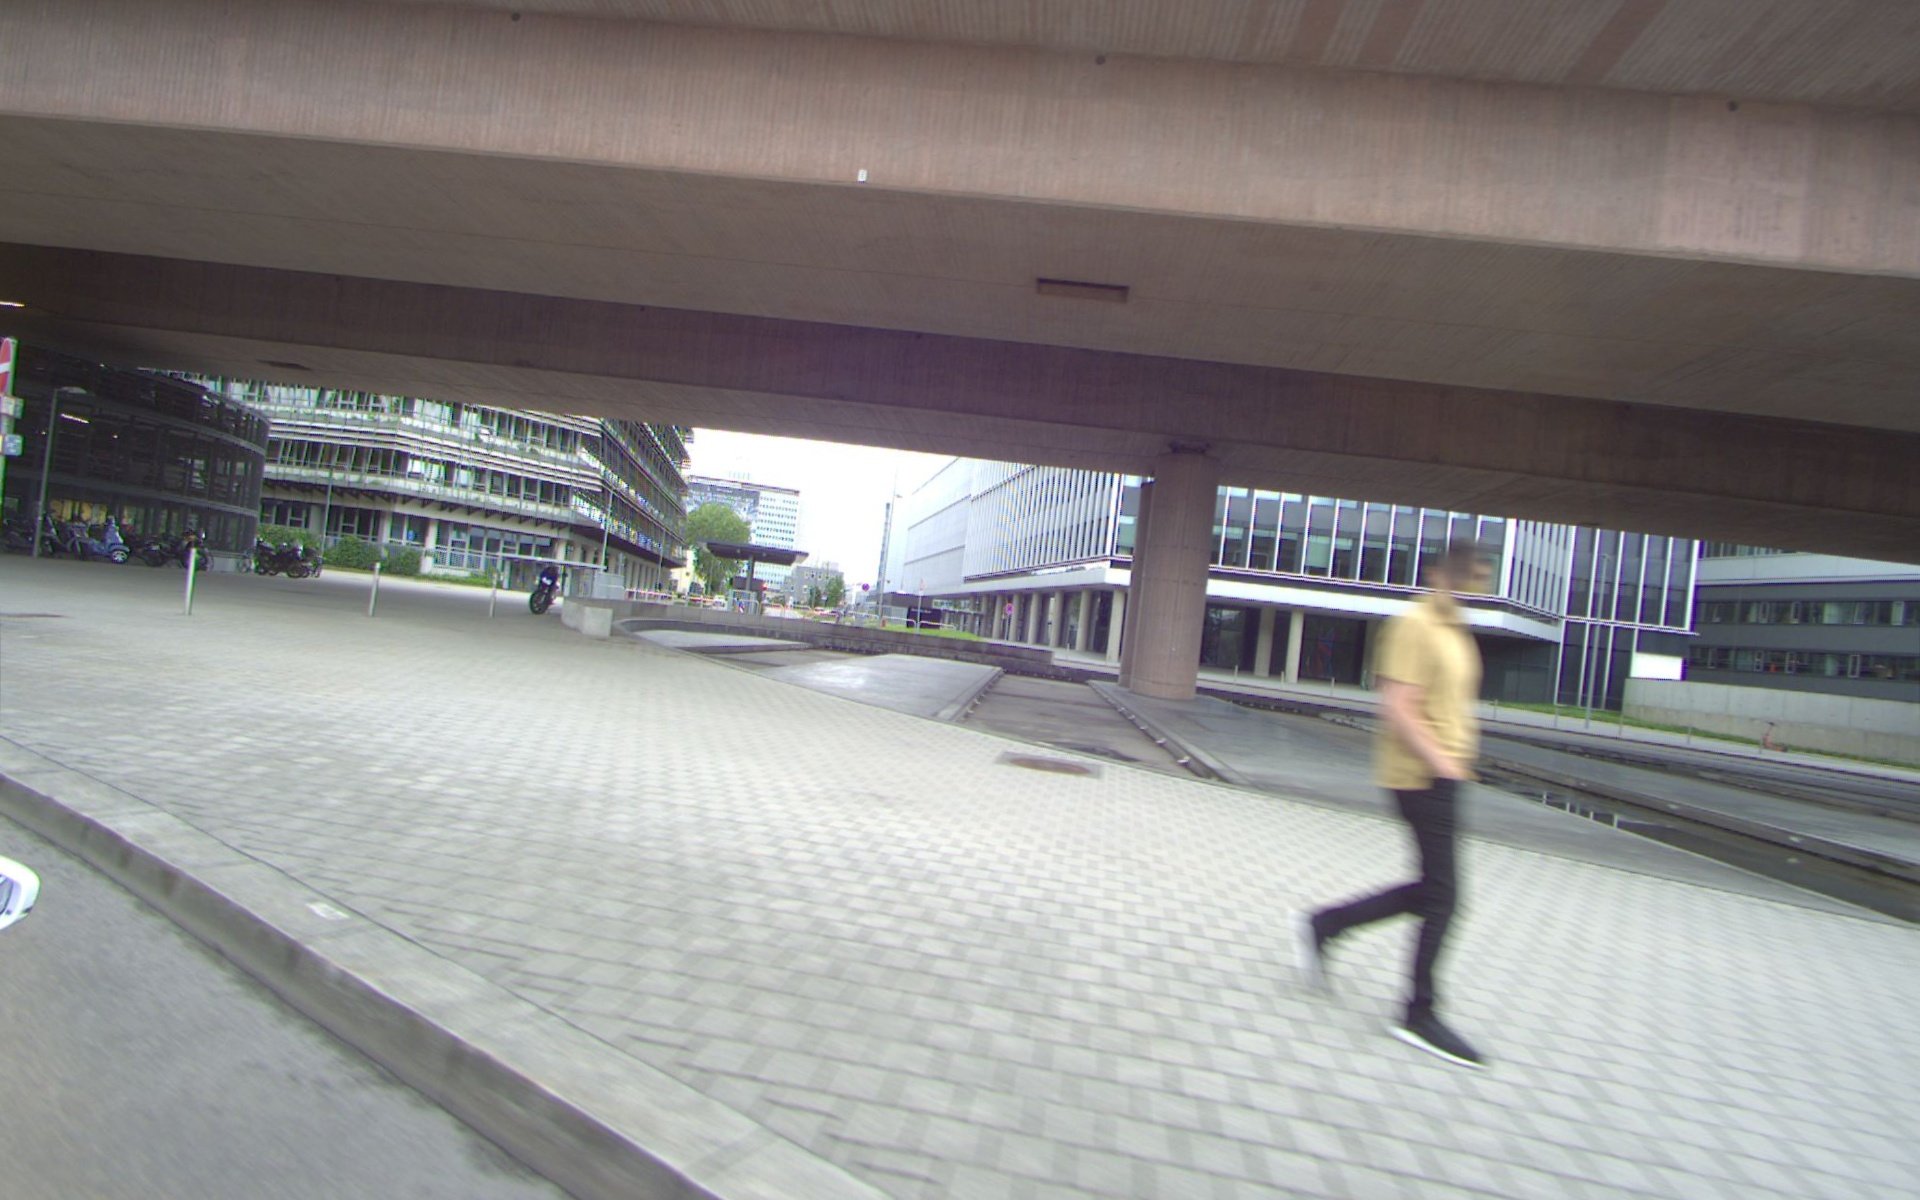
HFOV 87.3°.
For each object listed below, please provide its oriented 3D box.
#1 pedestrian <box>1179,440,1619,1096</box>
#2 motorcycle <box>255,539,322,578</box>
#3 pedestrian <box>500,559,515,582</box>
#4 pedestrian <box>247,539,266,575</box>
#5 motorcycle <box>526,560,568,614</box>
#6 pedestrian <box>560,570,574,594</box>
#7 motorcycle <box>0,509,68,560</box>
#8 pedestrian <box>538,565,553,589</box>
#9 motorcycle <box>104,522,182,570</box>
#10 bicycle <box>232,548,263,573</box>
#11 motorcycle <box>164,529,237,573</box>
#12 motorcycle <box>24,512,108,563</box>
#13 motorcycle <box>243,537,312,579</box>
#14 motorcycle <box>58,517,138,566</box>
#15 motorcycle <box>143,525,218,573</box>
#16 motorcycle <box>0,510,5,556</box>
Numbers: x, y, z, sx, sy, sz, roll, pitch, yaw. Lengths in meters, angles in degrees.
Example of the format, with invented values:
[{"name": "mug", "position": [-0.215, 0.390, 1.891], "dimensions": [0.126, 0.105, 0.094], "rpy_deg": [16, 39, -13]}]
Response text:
[{"name": "pedestrian", "position": [1.600, 0.526, 3.743], "dimensions": [0.779, 2.038, 1.028], "rpy_deg": [7, 0, -40]}, {"name": "motorcycle", "position": [-27.207, -1.685, 40.770], "dimensions": [2.318, 1.235, 0.674], "rpy_deg": [8, 0, 9]}, {"name": "pedestrian", "position": [-30.839, -2.028, 68.552], "dimensions": [0.488, 1.499, 0.544], "rpy_deg": [8, 0, 24]}, {"name": "pedestrian", "position": [-41.840, -2.558, 59.827], "dimensions": [0.563, 2.037, 0.529], "rpy_deg": [6, -1, 18]}, {"name": "motorcycle", "position": [-10.652, -0.335, 26.000], "dimensions": [0.539, 1.280, 1.936], "rpy_deg": [8, 0, -13]}, {"name": "pedestrian", "position": [-26.502, -1.203, 67.850], "dimensions": [0.487, 1.499, 0.545], "rpy_deg": [8, 0, 10]}, {"name": "motorcycle", "position": [-27.512, -1.951, 29.583], "dimensions": [2.039, 1.235, 0.674], "rpy_deg": [8, 0, 9]}, {"name": "pedestrian", "position": [-28.027, -1.537, 68.016], "dimensions": [0.487, 1.499, 0.545], "rpy_deg": [8, 0, 14]}, {"name": "motorcycle", "position": [-26.587, -1.748, 32.751], "dimensions": [2.039, 1.235, 0.674], "rpy_deg": [8, 0, 9]}, {"name": "bicycle", "position": [-28.942, -1.590, 40.879], "dimensions": [0.468, 0.906, 1.500], "rpy_deg": [8, 0, -16]}, {"name": "motorcycle", "position": [-26.374, -1.703, 34.930], "dimensions": [2.039, 1.235, 0.674], "rpy_deg": [8, 0, 9]}, {"name": "motorcycle", "position": [-27.167, -1.886, 30.564], "dimensions": [2.039, 1.235, 0.674], "rpy_deg": [8, 0, 9]}, {"name": "motorcycle", "position": [-26.805, -1.645, 39.525], "dimensions": [2.318, 1.291, 0.674], "rpy_deg": [8, 0, 9]}, {"name": "motorcycle", "position": [-27.099, -1.835, 31.633], "dimensions": [2.039, 1.235, 0.674], "rpy_deg": [8, 0, 9]}, {"name": "motorcycle", "position": [-26.348, -1.714, 34.016], "dimensions": [2.039, 1.301, 0.674], "rpy_deg": [8, 0, 9]}, {"name": "motorcycle", "position": [-26.784, -1.925, 27.174], "dimensions": [2.043, 1.235, 0.831], "rpy_deg": [8, 0, 30]}]
